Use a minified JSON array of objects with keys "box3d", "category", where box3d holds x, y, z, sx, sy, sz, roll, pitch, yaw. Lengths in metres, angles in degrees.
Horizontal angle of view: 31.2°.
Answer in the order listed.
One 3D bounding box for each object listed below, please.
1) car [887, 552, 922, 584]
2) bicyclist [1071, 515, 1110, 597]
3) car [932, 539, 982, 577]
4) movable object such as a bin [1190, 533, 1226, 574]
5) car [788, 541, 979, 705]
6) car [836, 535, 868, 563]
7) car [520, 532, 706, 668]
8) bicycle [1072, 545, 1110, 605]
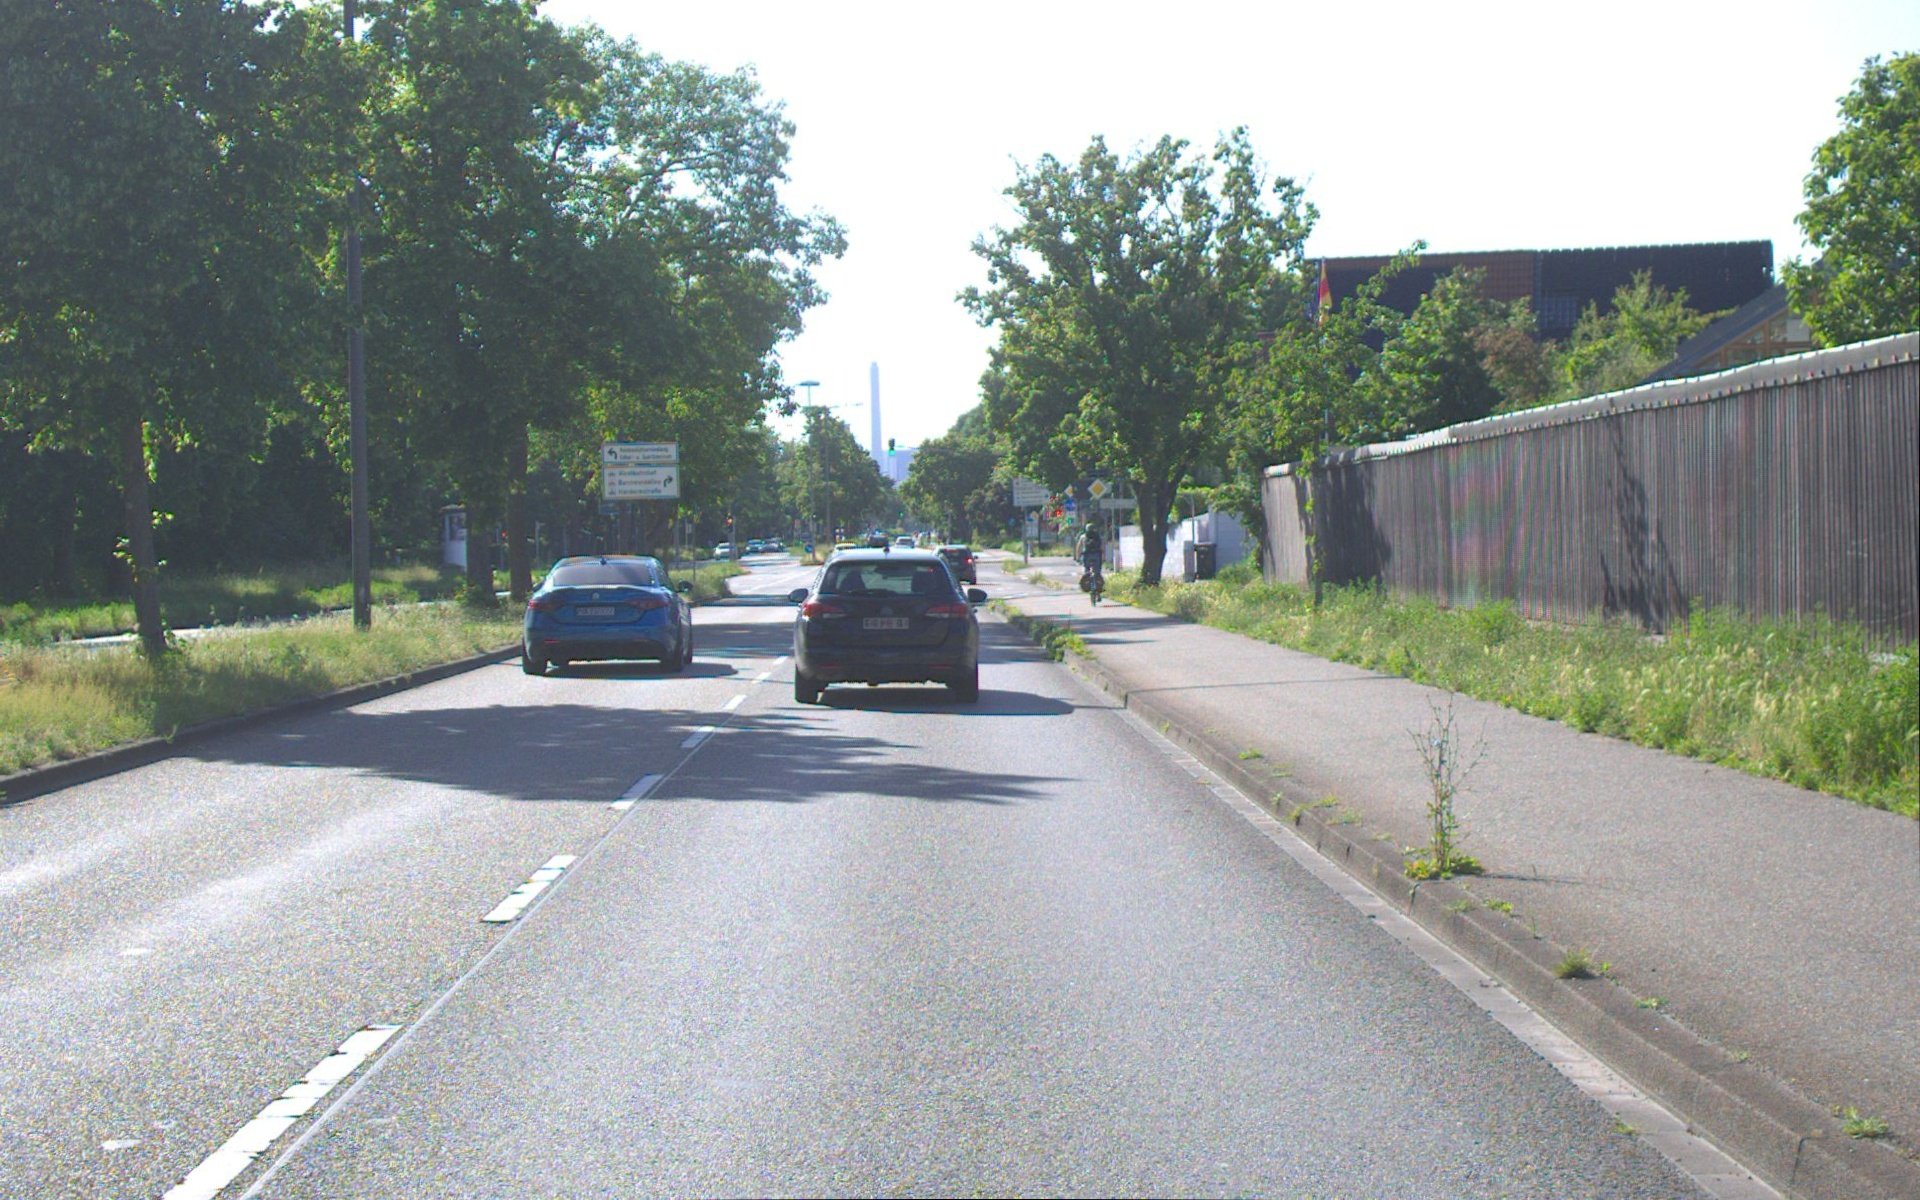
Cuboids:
[{"box3d":[-2.854,-1.654,177.438,1.732,1.579,3.840,1,1,-1],"category":"car"},{"box3d":[2.683,-0.915,70.733,0.630,1.627,0.982,-4,1,6],"category":"bicyclist"},{"box3d":[-0.096,-1.639,133.571,1.732,1.454,3.840,-1,1,3],"category":"car"},{"box3d":[7.685,-1.440,106.465,1.002,1.201,1.062,-3,0,7],"category":"movable object such as a bin"},{"box3d":[-0.733,0.194,33.696,1.755,1.504,3.809,-1,1,-1],"category":"car"},{"box3d":[-6.408,-3.028,204.414,1.824,1.609,3.840,-1,1,-1],"category":"car"},{"box3d":[-4.202,-0.017,42.189,1.888,1.547,4.000,-1,1,-1],"category":"car"},{"box3d":[2.699,-0.525,70.761,0.574,1.151,2.140,-4,2,6],"category":"bicycle"}]
